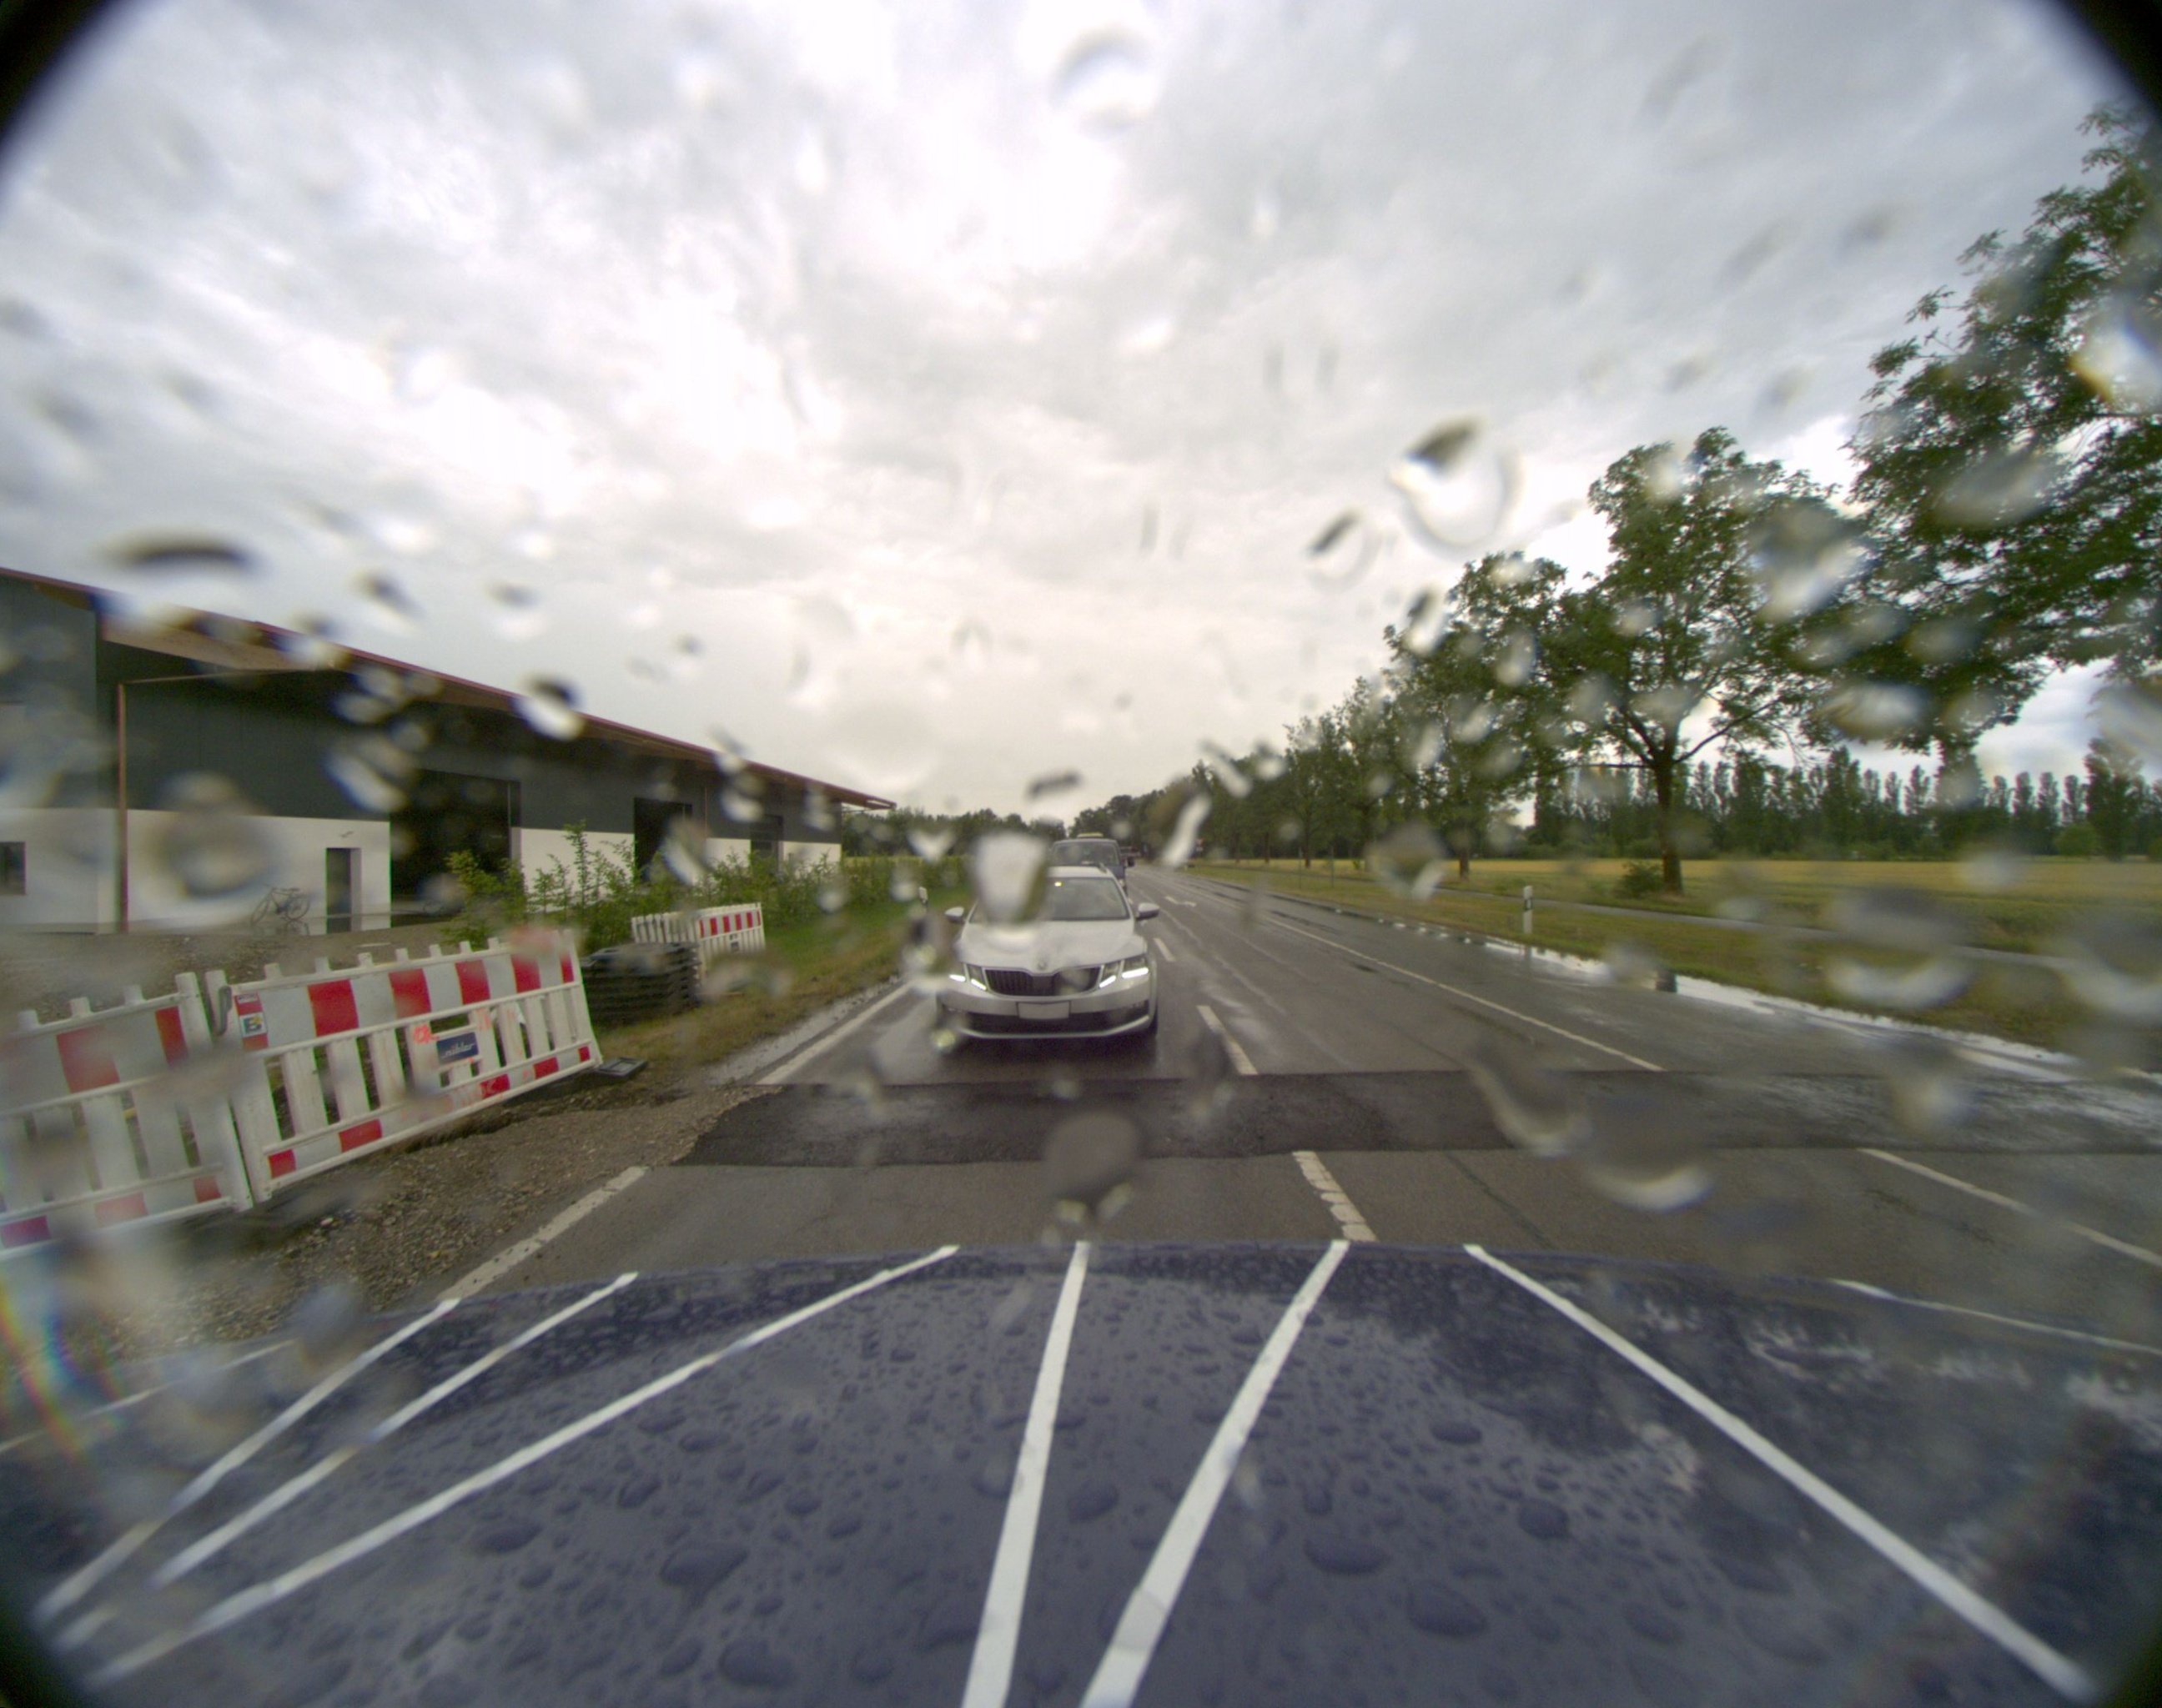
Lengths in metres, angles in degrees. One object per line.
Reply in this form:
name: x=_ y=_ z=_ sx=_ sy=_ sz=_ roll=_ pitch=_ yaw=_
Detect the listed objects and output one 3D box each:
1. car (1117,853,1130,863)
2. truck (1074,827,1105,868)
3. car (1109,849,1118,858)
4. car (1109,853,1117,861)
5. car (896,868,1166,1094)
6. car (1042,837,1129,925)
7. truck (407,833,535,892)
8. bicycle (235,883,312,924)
car: x=6.571 y=0.637 z=117.887 sx=1.724 sy=1.396 sz=4.043 roll=1 pitch=1 yaw=0
truck: x=0.912 y=-0.660 z=78.585 sx=2.931 sy=3.829 sz=14.119 roll=0 pitch=0 yaw=1
car: x=7.091 y=-0.156 z=166.819 sx=1.921 sy=1.851 sz=4.684 roll=1 pitch=1 yaw=0
car: x=6.605 y=0.652 z=156.576 sx=1.708 sy=1.661 sz=4.156 roll=1 pitch=1 yaw=2
car: x=-0.316 y=0.935 z=7.623 sx=1.843 sy=1.379 sz=4.569 roll=-2 pitch=1 yaw=1
car: x=0.129 y=0.575 z=18.693 sx=1.892 sy=1.939 sz=4.000 roll=0 pitch=1 yaw=1
truck: x=-32.617 y=0.403 z=40.895 sx=2.496 sy=2.996 sz=5.343 roll=0 pitch=1 yaw=1
bicycle: x=-23.114 y=1.395 z=21.797 sx=0.391 sy=1.066 sz=1.661 roll=0 pitch=1 yaw=1
